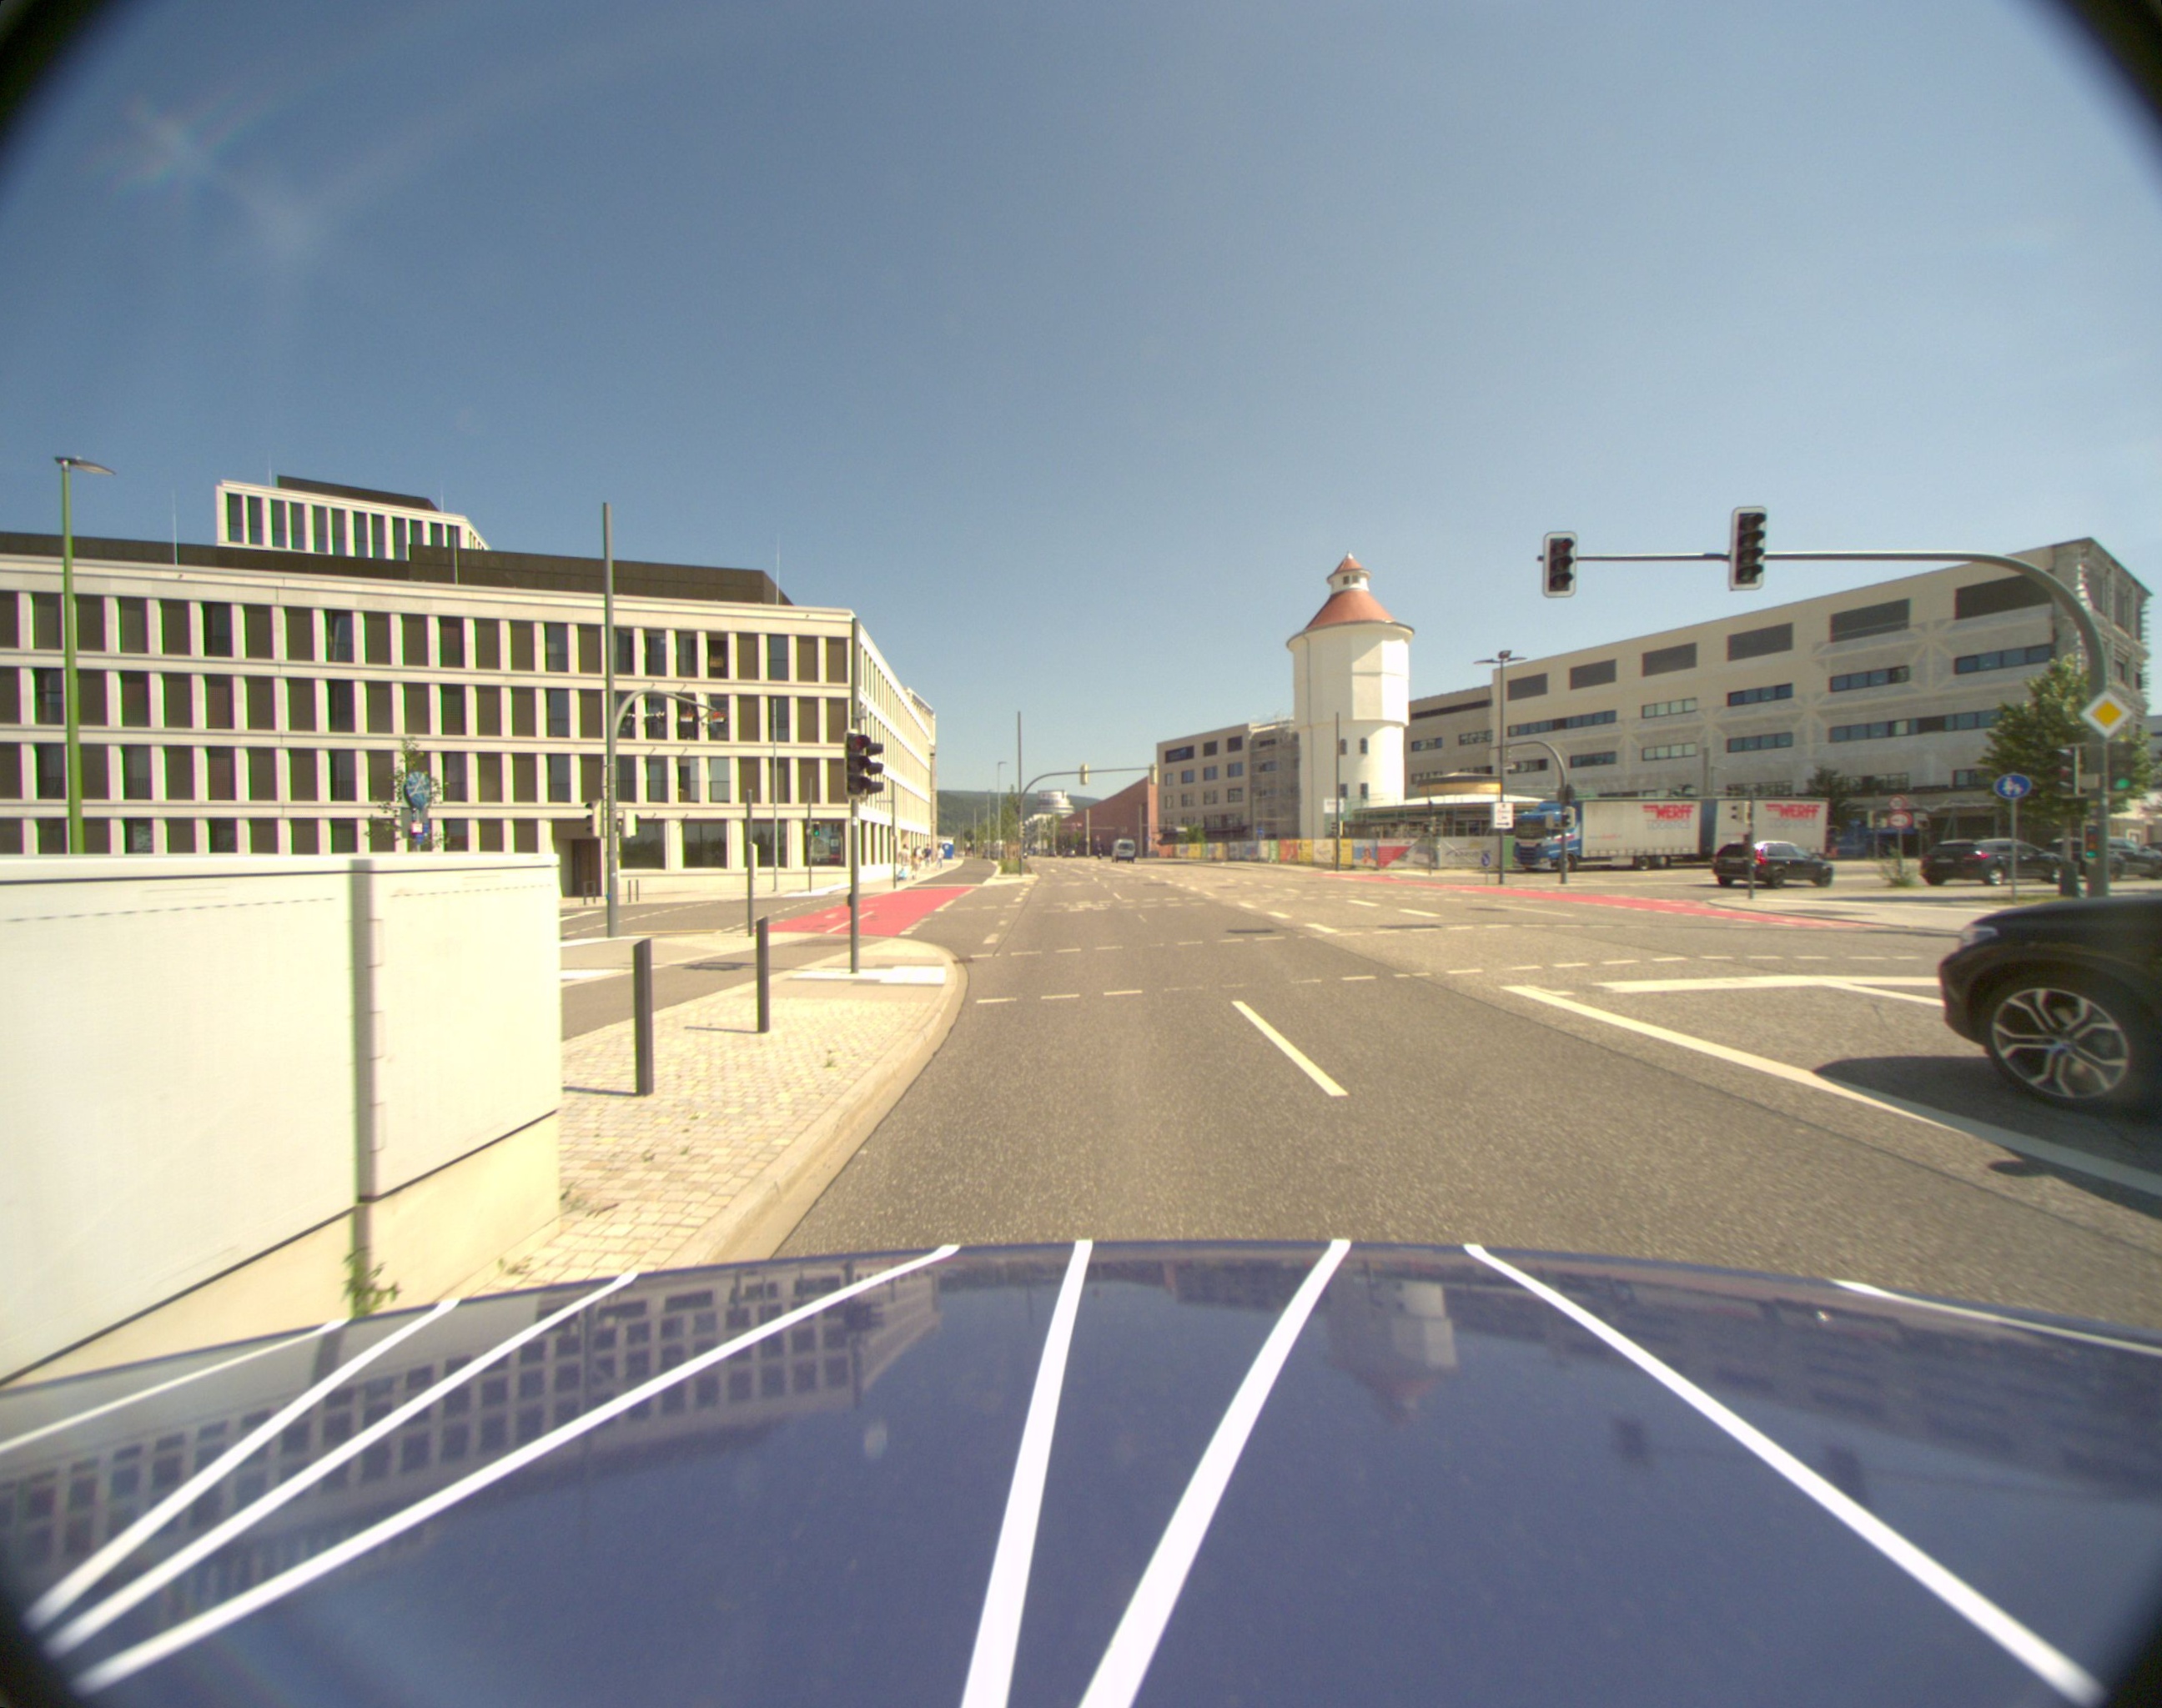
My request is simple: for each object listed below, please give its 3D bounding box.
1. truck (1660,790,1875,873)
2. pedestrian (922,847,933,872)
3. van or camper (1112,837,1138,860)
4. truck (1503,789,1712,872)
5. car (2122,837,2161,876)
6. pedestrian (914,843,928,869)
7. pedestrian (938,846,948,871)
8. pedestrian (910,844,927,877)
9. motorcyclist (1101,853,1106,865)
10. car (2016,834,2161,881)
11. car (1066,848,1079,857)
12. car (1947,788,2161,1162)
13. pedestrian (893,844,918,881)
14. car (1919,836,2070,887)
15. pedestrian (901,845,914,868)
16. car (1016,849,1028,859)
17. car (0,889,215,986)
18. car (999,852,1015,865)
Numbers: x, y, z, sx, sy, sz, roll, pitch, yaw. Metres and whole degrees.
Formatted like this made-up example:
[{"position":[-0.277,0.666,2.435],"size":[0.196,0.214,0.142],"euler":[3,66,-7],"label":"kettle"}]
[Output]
[{"position":[40.595,-1.371,45.031],"size":[10.949,4.251,3.341],"euler":[-3,2,-9],"label":"truck"},{"position":[-10.549,0.358,52.153],"size":[0.578,1.730,0.996],"euler":[-1,1,-5],"label":"pedestrian"},{"position":[4.798,-0.685,83.208],"size":[2.159,2.400,5.678],"euler":[0,1,-4],"label":"van or camper"},{"position":[29.705,-1.367,42.898],"size":[10.985,4.045,3.297],"euler":[-3,2,-14],"label":"truck"},{"position":[44.098,0.027,30.118],"size":[3.903,1.521,1.879],"euler":[-2,-2,-12],"label":"car"},{"position":[-11.100,0.099,52.790],"size":[0.827,1.774,0.926],"euler":[0,2,-6],"label":"pedestrian"},{"position":[-9.727,0.300,53.548],"size":[0.578,1.710,0.996],"euler":[-2,2,-6],"label":"pedestrian"},{"position":[-8.609,0.371,40.323],"size":[0.702,1.713,0.796],"euler":[-3,-1,-4],"label":"pedestrian"},{"position":[3.124,0.714,107.178],"size":[0.621,1.650,0.927],"euler":[0,2,-4],"label":"motorcyclist"},{"position":[38.307,0.105,28.891],"size":[4.001,1.630,1.878],"euler":[-2,1,-13],"label":"car"},{"position":[-1.414,-0.265,130.238],"size":[1.803,1.581,3.967],"euler":[0,1,-7],"label":"car"},{"position":[6.036,0.558,2.144],"size":[1.944,1.778,4.655],"euler":[-3,1,2],"label":"car"},{"position":[-9.022,0.405,39.124],"size":[0.880,1.816,1.664],"euler":[-3,1,-4],"label":"pedestrian"},{"position":[32.998,0.243,27.491],"size":[4.001,1.630,1.878],"euler":[-2,1,-13],"label":"car"},{"position":[-11.937,0.188,52.272],"size":[0.770,1.557,0.842],"euler":[0,2,-6],"label":"pedestrian"},{"position":[-9.771,-0.005,125.414],"size":[1.784,1.552,3.829],"euler":[-3,1,-8],"label":"car"},{"position":[-18.858,1.541,14.206],"size":[1.455,1.456,3.374],"euler":[-1,2,39],"label":"car"},{"position":[-9.011,0.500,92.155],"size":[1.811,1.499,3.997],"euler":[-3,1,-5],"label":"car"}]
